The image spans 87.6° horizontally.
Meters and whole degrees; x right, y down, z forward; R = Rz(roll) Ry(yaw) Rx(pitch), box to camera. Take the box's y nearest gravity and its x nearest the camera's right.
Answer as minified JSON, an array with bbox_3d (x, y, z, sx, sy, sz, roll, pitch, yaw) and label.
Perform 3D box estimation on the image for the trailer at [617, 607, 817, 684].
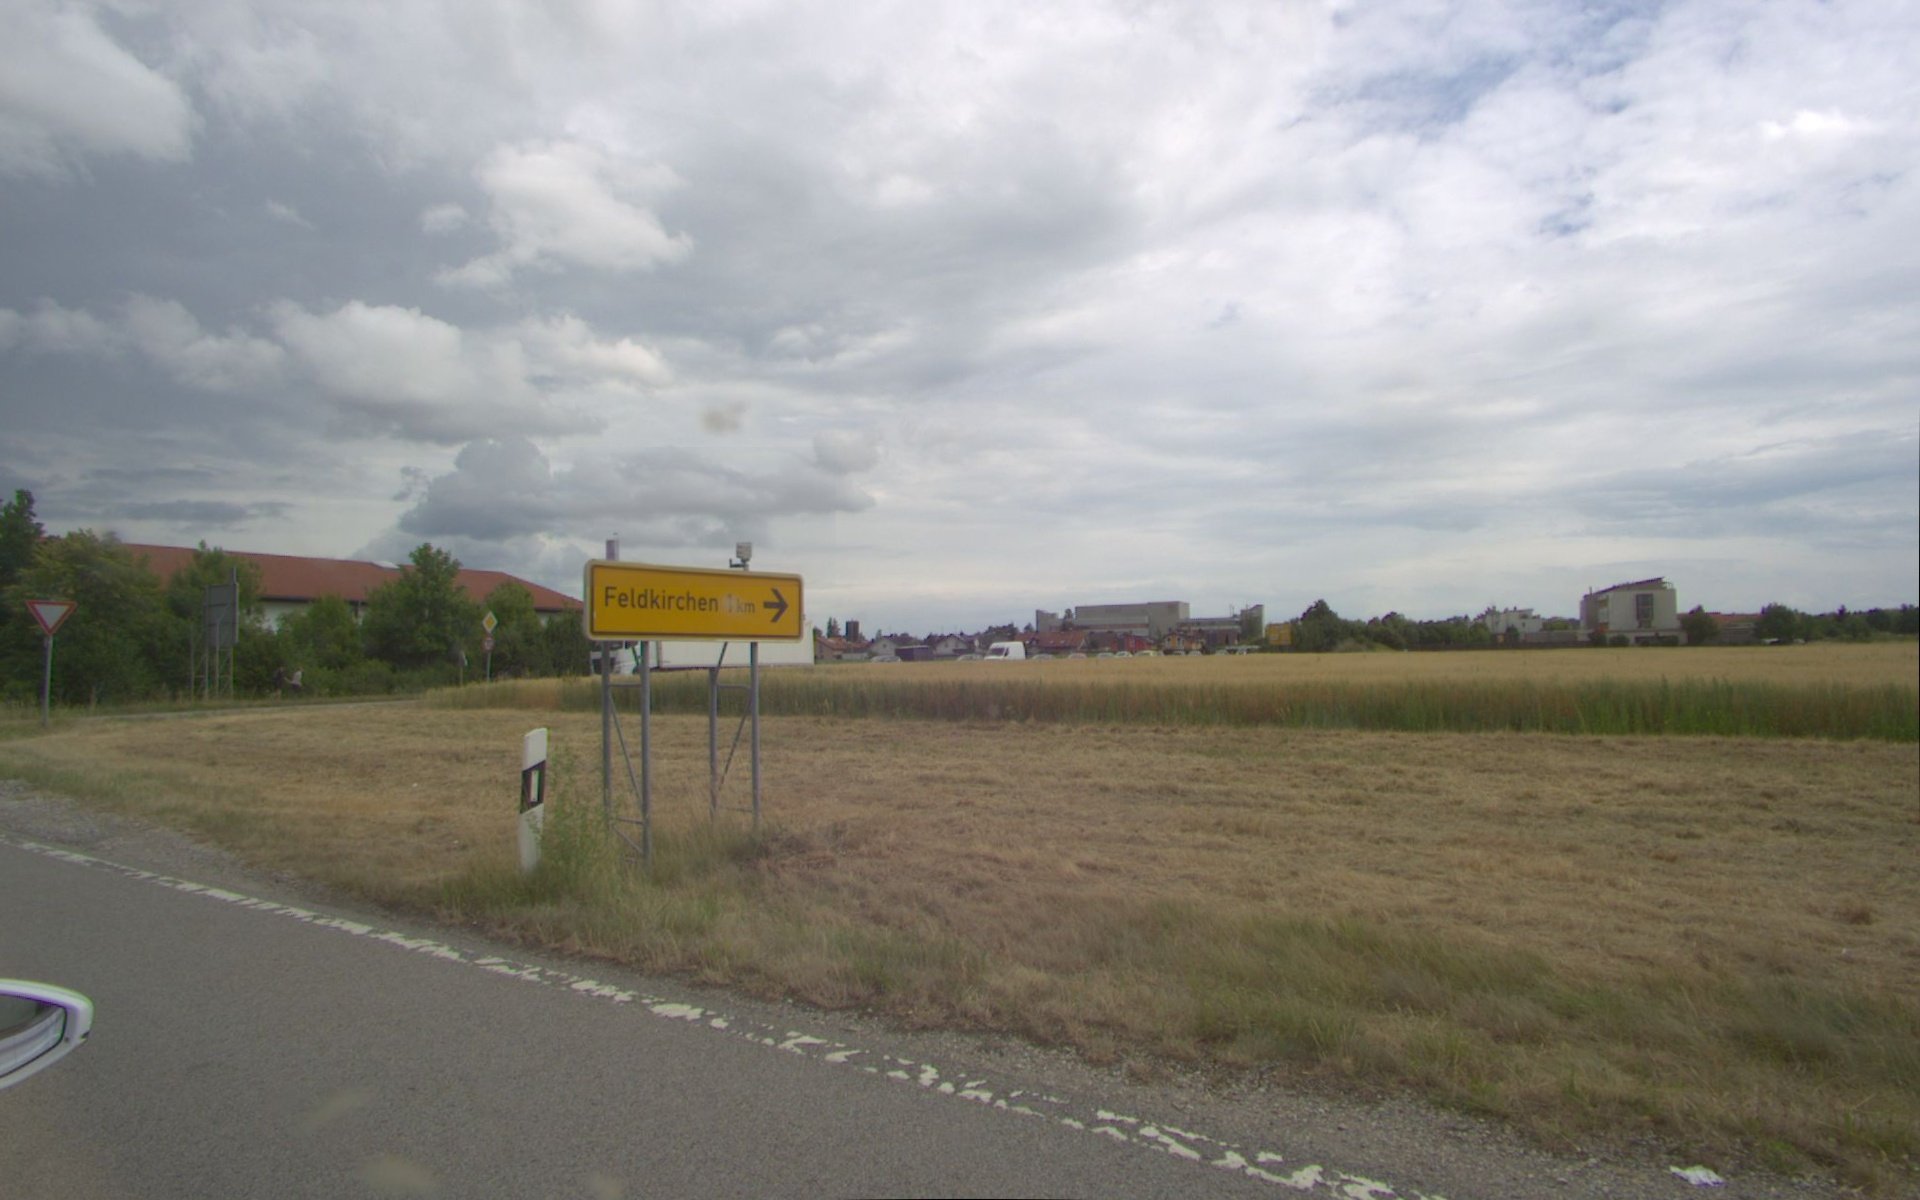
[{"bbox_3d":[-14.146,2.781,60.378,3.083,4.062,13.833,-4,-4,29],"label":"trailer"}]

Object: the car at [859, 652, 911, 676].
[{"bbox_3d":[-5.598,4.795,75.406,1.968,1.703,4.466,-3,-3,25],"label":"car"}]

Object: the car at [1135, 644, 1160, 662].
[{"bbox_3d":[21.814,6.117,116.182,1.967,1.914,3.988,-1,-1,25],"label":"car"}]

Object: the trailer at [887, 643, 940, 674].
[{"bbox_3d":[-3.670,4.639,79.406,2.379,2.320,4.383,-3,-3,26],"label":"trailer"}]

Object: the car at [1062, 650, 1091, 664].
[{"bbox_3d":[12.710,6.208,108.919,1.828,1.485,3.985,-2,-3,28],"label":"car"}]

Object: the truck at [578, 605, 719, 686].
[{"bbox_3d":[-17.012,2.554,55.245,3.083,4.063,7.279,-4,-4,29],"label":"truck"}]

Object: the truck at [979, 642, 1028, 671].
[{"bbox_3d":[4.050,5.224,92.819,1.971,2.606,5.992,-3,-4,30],"label":"truck"}]

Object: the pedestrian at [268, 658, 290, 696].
[{"bbox_3d":[-30.586,3.445,44.947,0.521,1.704,0.626,-1,-1,24],"label":"pedestrian"}]

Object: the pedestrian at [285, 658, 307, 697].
[{"bbox_3d":[-29.542,3.440,44.561,0.521,1.704,0.626,-1,-1,24],"label":"pedestrian"}]
